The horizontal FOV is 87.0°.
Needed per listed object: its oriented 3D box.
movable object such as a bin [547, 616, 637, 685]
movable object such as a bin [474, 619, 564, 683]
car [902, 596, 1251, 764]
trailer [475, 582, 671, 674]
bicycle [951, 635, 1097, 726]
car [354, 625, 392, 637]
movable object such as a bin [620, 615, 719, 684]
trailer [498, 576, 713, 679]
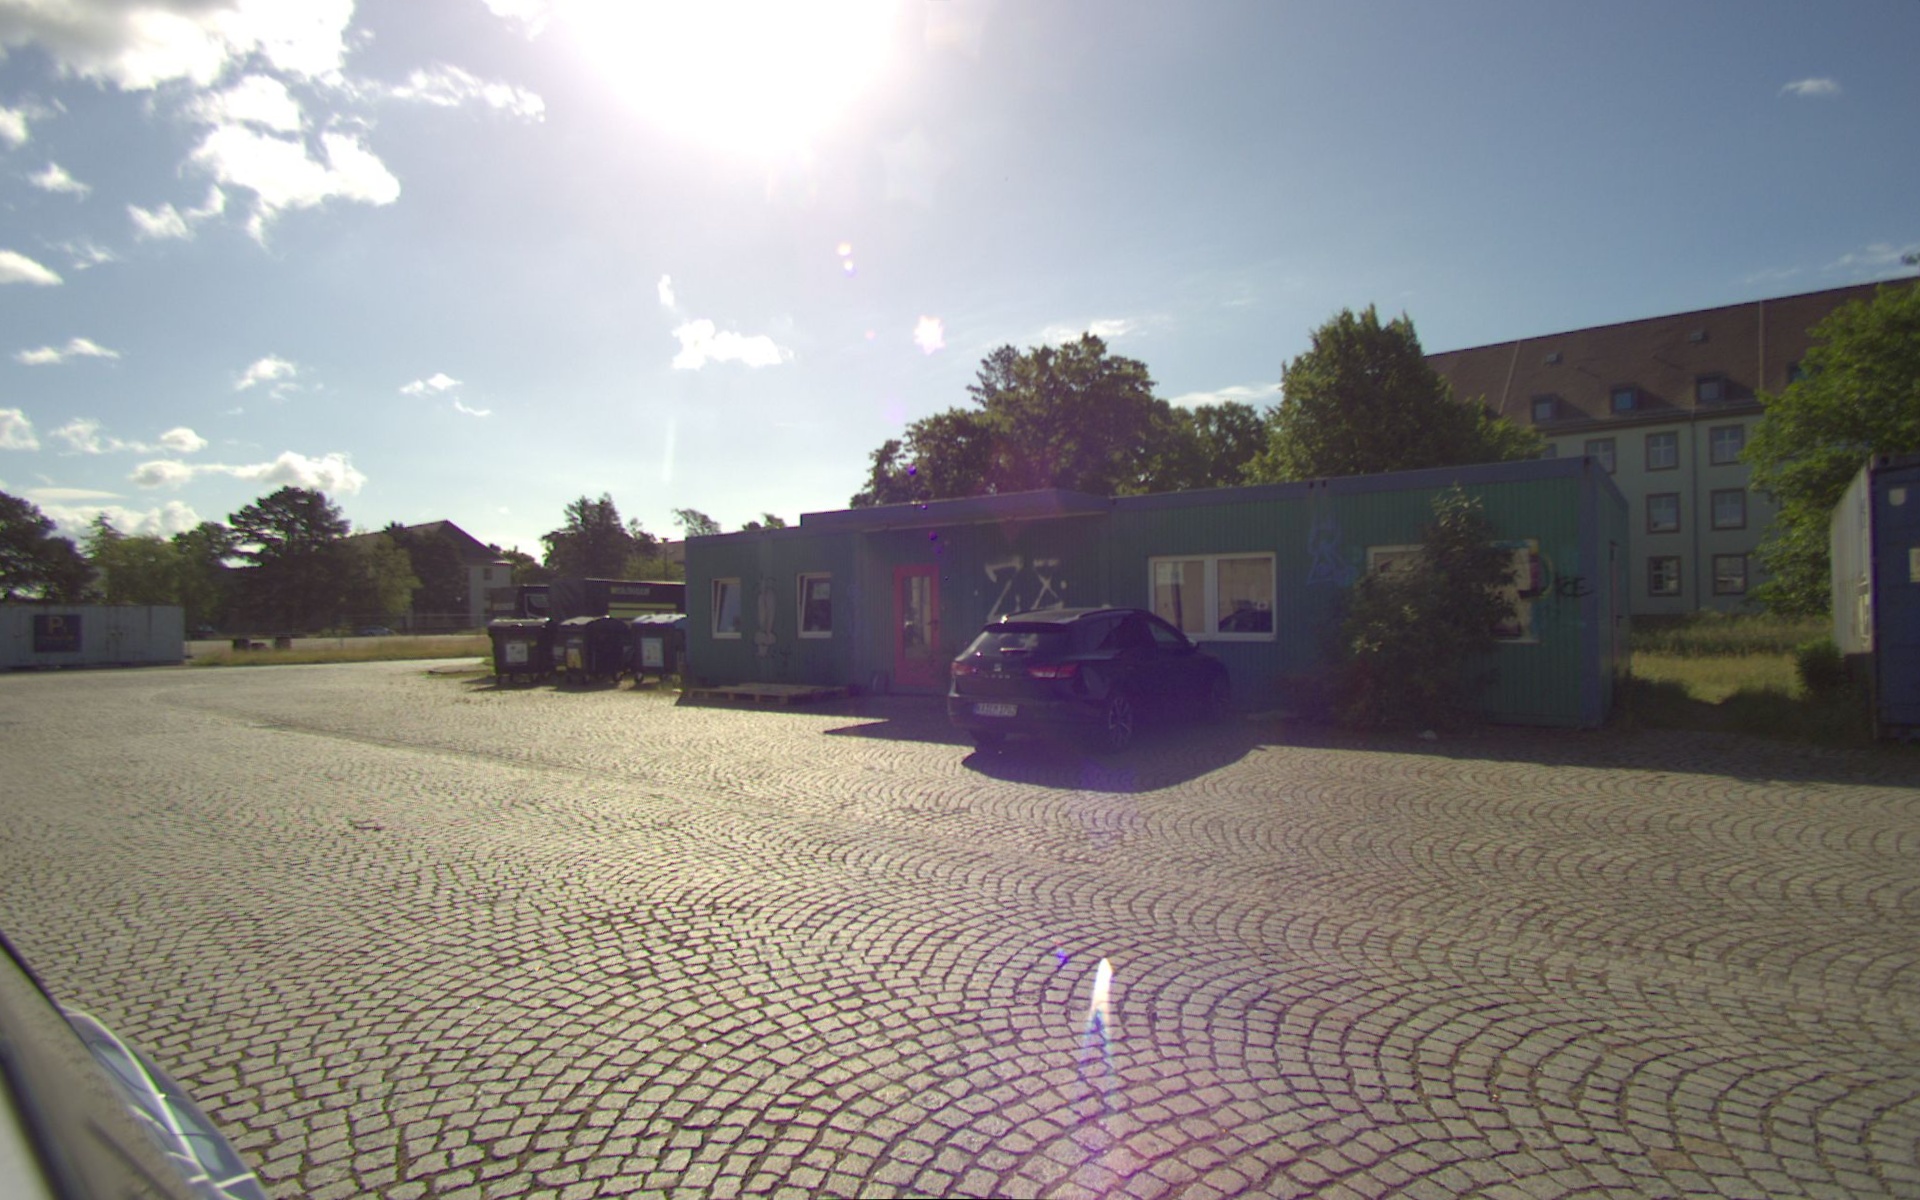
[{"bbox_3d":[-8.048,1.075,22.137,1.535,1.433,1.282,-1,-1,41],"label":"movable object such as a bin"},{"bbox_3d":[-10.032,1.142,23.089,1.512,1.397,1.387,-1,-1,-4],"label":"movable object such as a bin"},{"bbox_3d":[1.510,0.735,11.386,1.996,1.475,4.375,-2,-1,36],"label":"car"},{"bbox_3d":[-10.604,0.735,28.005,2.136,2.315,4.607,-2,-1,41],"label":"trailer"},{"bbox_3d":[0.866,1.001,13.188,1.037,1.035,1.857,-2,-1,37],"label":"bicycle"},{"bbox_3d":[-77.413,4.082,133.536,1.996,1.594,3.952,-2,-1,35],"label":"car"},{"bbox_3d":[-6.231,1.038,21.761,1.528,1.397,1.373,-2,-1,28],"label":"movable object such as a bin"},{"bbox_3d":[-8.991,0.660,26.057,2.091,2.372,4.915,-2,-1,36],"label":"trailer"}]
